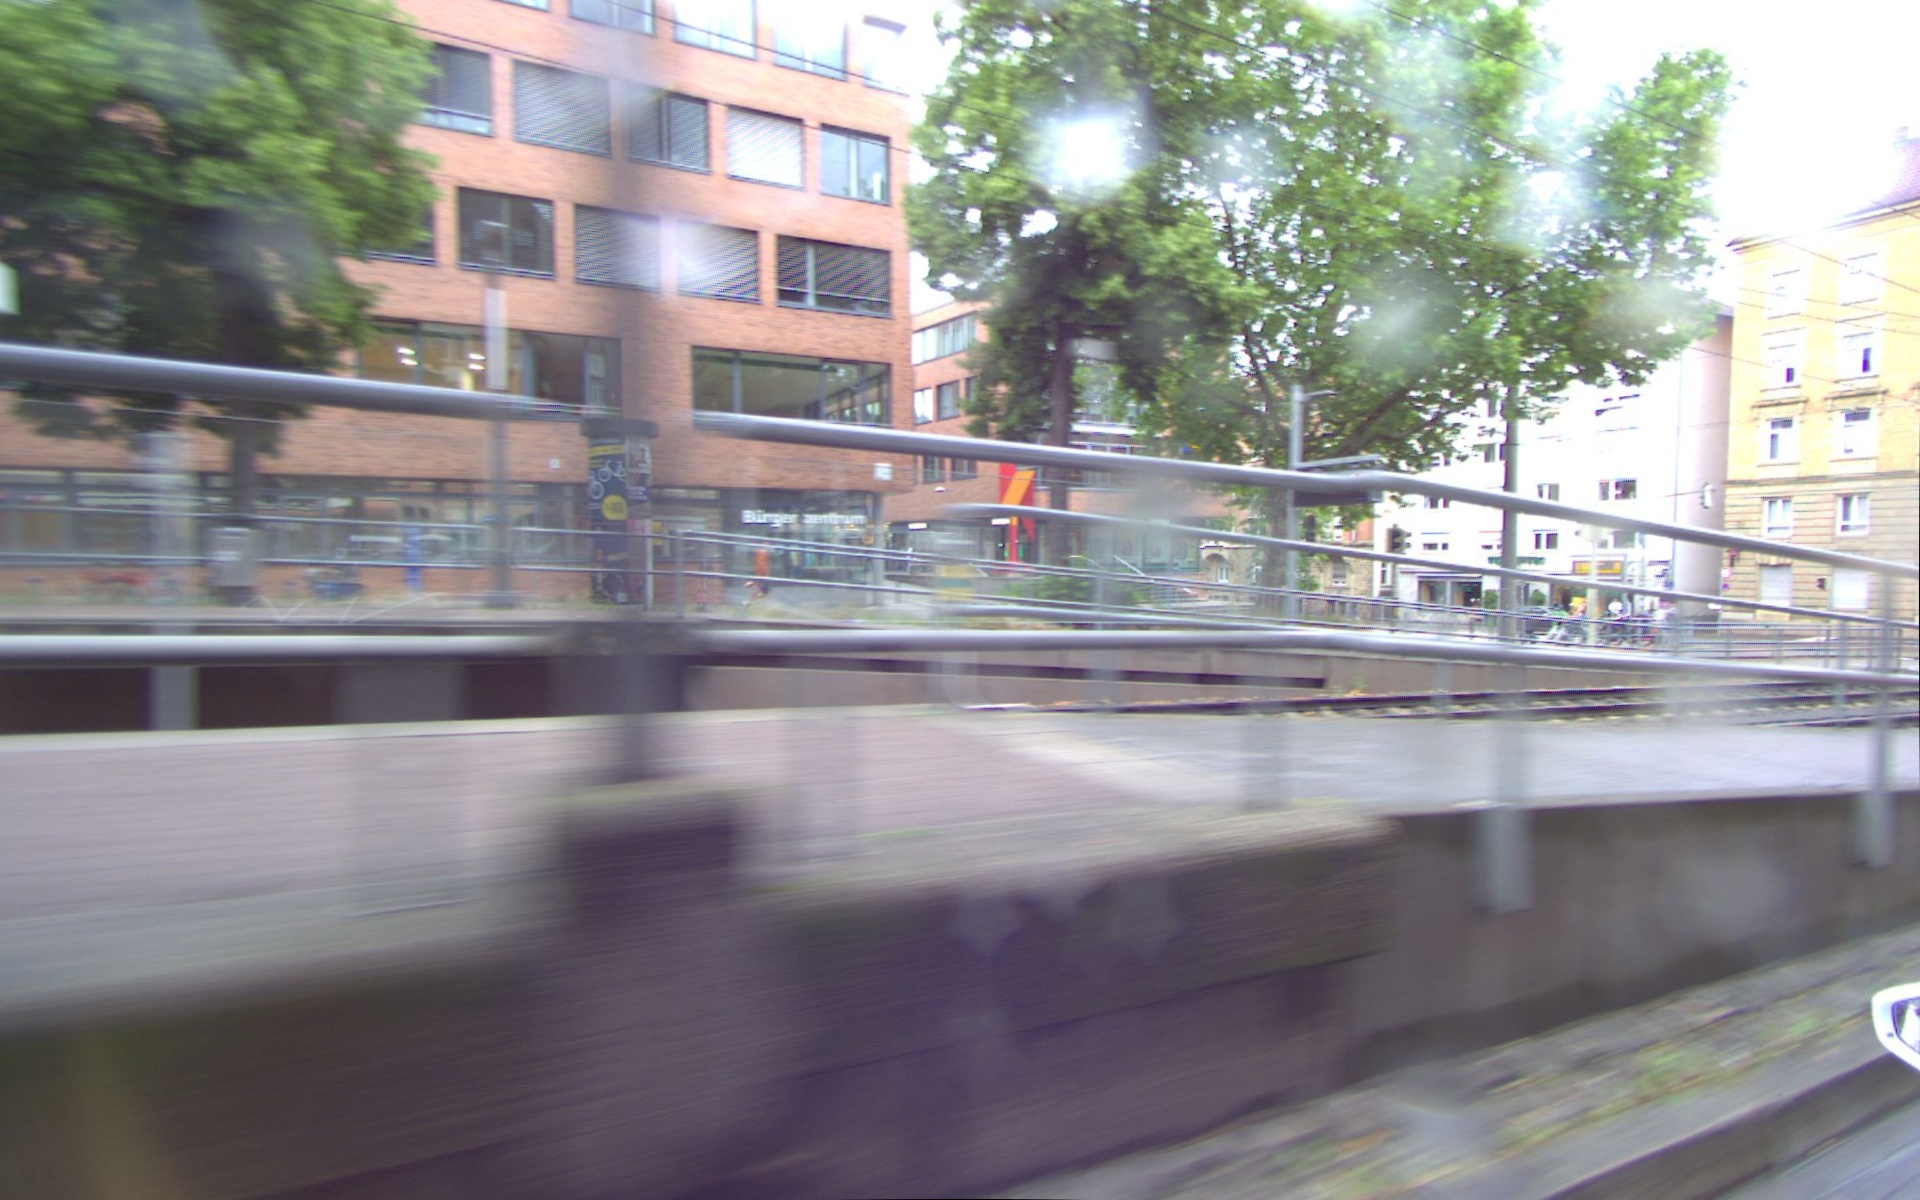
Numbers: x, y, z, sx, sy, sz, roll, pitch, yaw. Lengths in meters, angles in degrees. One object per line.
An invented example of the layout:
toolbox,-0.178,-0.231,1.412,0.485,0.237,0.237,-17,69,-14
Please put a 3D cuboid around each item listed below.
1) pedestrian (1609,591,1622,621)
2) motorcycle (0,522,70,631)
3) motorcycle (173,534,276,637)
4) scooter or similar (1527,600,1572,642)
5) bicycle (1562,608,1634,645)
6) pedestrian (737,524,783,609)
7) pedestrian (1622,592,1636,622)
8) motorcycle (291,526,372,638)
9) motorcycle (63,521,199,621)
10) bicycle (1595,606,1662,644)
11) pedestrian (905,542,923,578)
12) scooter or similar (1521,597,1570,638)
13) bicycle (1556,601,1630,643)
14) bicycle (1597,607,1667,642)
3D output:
pedestrian,37.357,0.331,57.252,0.508,1.644,0.486,2,2,24
motorcycle,-15.329,-0.421,15.866,0.993,1.627,3.848,1,2,-28
motorcycle,-12.818,-0.288,17.604,0.993,1.649,3.045,1,2,-28
scooter or similar,17.970,0.631,30.623,1.090,1.211,0.362,2,2,13
bicycle,20.439,0.843,32.196,0.513,1.076,1.856,0,2,-38
pedestrian,-4.971,-0.826,24.912,0.966,2.041,0.731,1,2,-21
pedestrian,37.792,0.400,56.710,0.508,1.644,0.486,2,2,24
motorcycle,-11.208,-0.353,18.002,0.981,1.840,3.024,1,2,-28
motorcycle,-13.927,-0.515,17.025,0.993,1.508,3.848,1,2,-28
bicycle,22.179,0.821,33.363,0.513,1.158,1.753,0,2,-37
pedestrian,-2.622,-2.280,57.541,0.709,2.041,0.714,1,1,-32
scooter or similar,18.141,0.550,31.151,1.226,1.211,0.299,2,2,13
bicycle,19.777,0.670,31.395,0.513,1.211,1.856,0,2,-37
bicycle,22.662,0.813,33.900,0.513,1.079,1.856,0,2,-37
